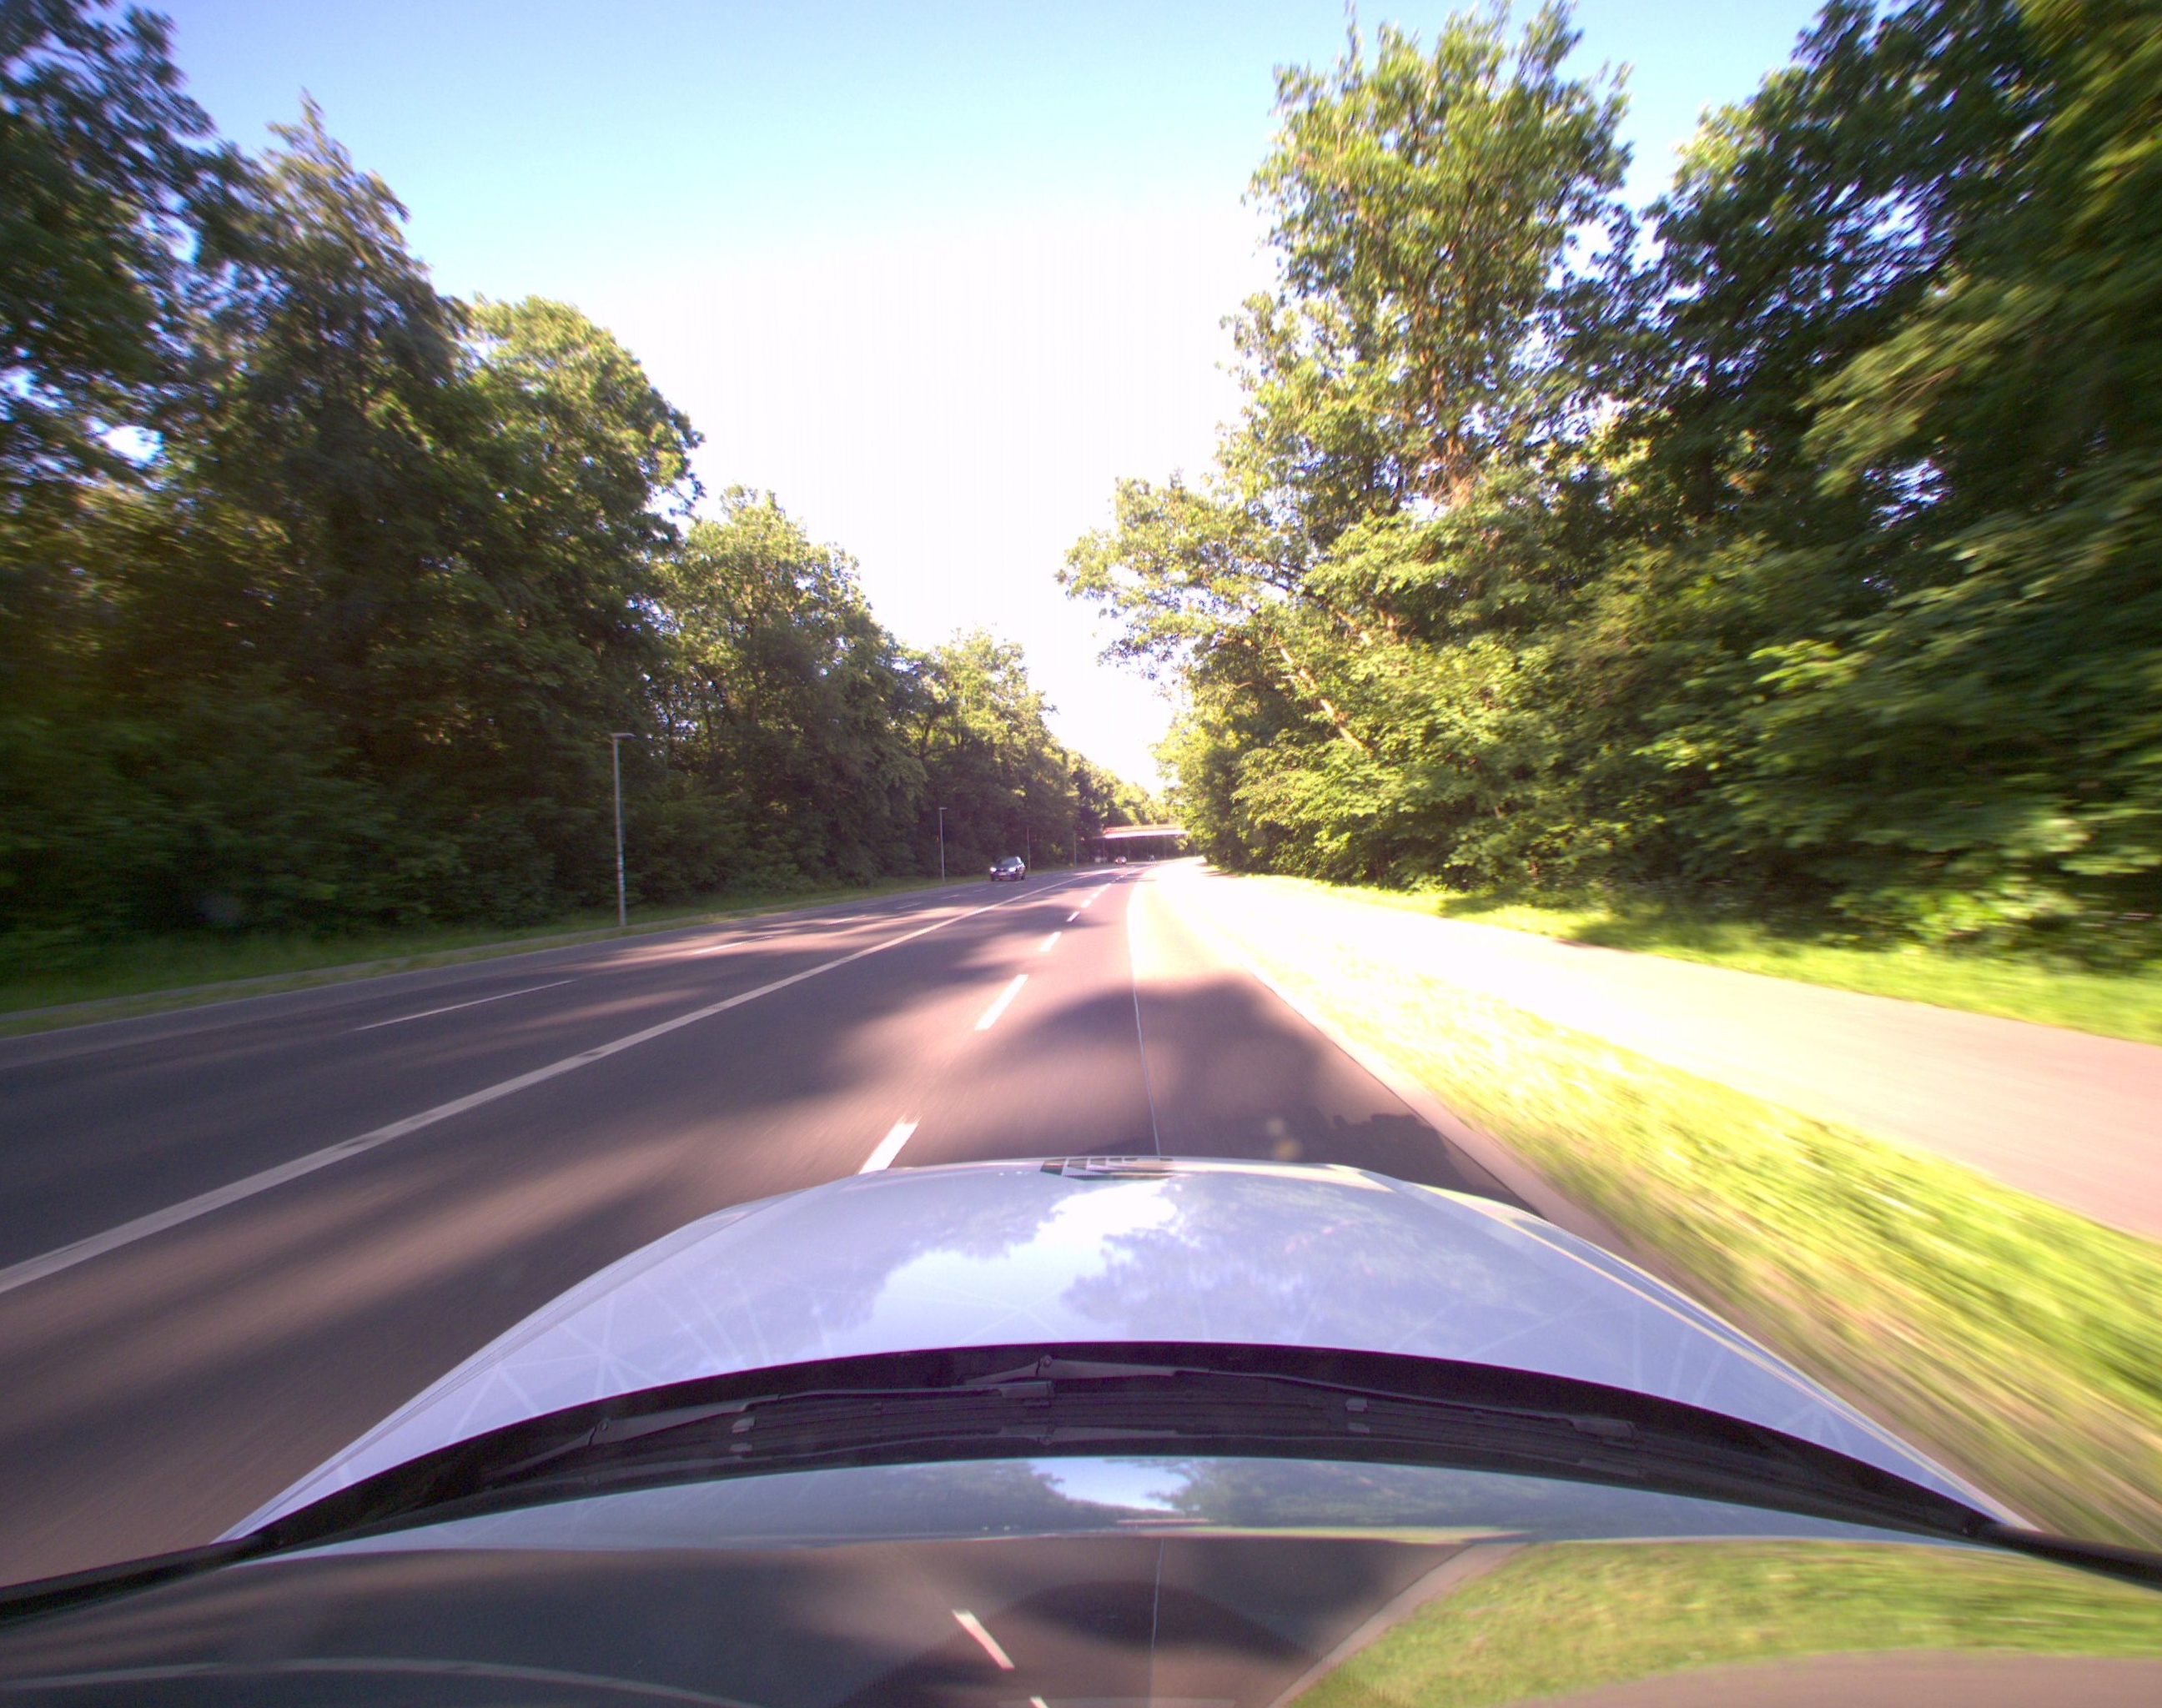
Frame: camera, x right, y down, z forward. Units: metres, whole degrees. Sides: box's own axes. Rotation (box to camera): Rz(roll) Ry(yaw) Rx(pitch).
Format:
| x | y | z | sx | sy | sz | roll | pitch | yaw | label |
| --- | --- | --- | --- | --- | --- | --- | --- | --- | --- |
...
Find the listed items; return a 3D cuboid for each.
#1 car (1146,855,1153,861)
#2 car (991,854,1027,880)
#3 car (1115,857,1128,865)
| x | y | z | sx | sy | sz | roll | pitch | yaw | label |
| --- | --- | --- | --- | --- | --- | --- | --- | --- | --- |
| 16.670 | 1.049 | 197.944 | 1.488 | 1.444 | 3.506 | -2 | 0 | 6 | car |
| -4.828 | 0.852 | 55.086 | 1.800 | 1.663 | 4.524 | -2 | 0 | 2 | car |
| 7.355 | 1.227 | 148.260 | 1.698 | 1.423 | 4.143 | -2 | 0 | 12 | car |
